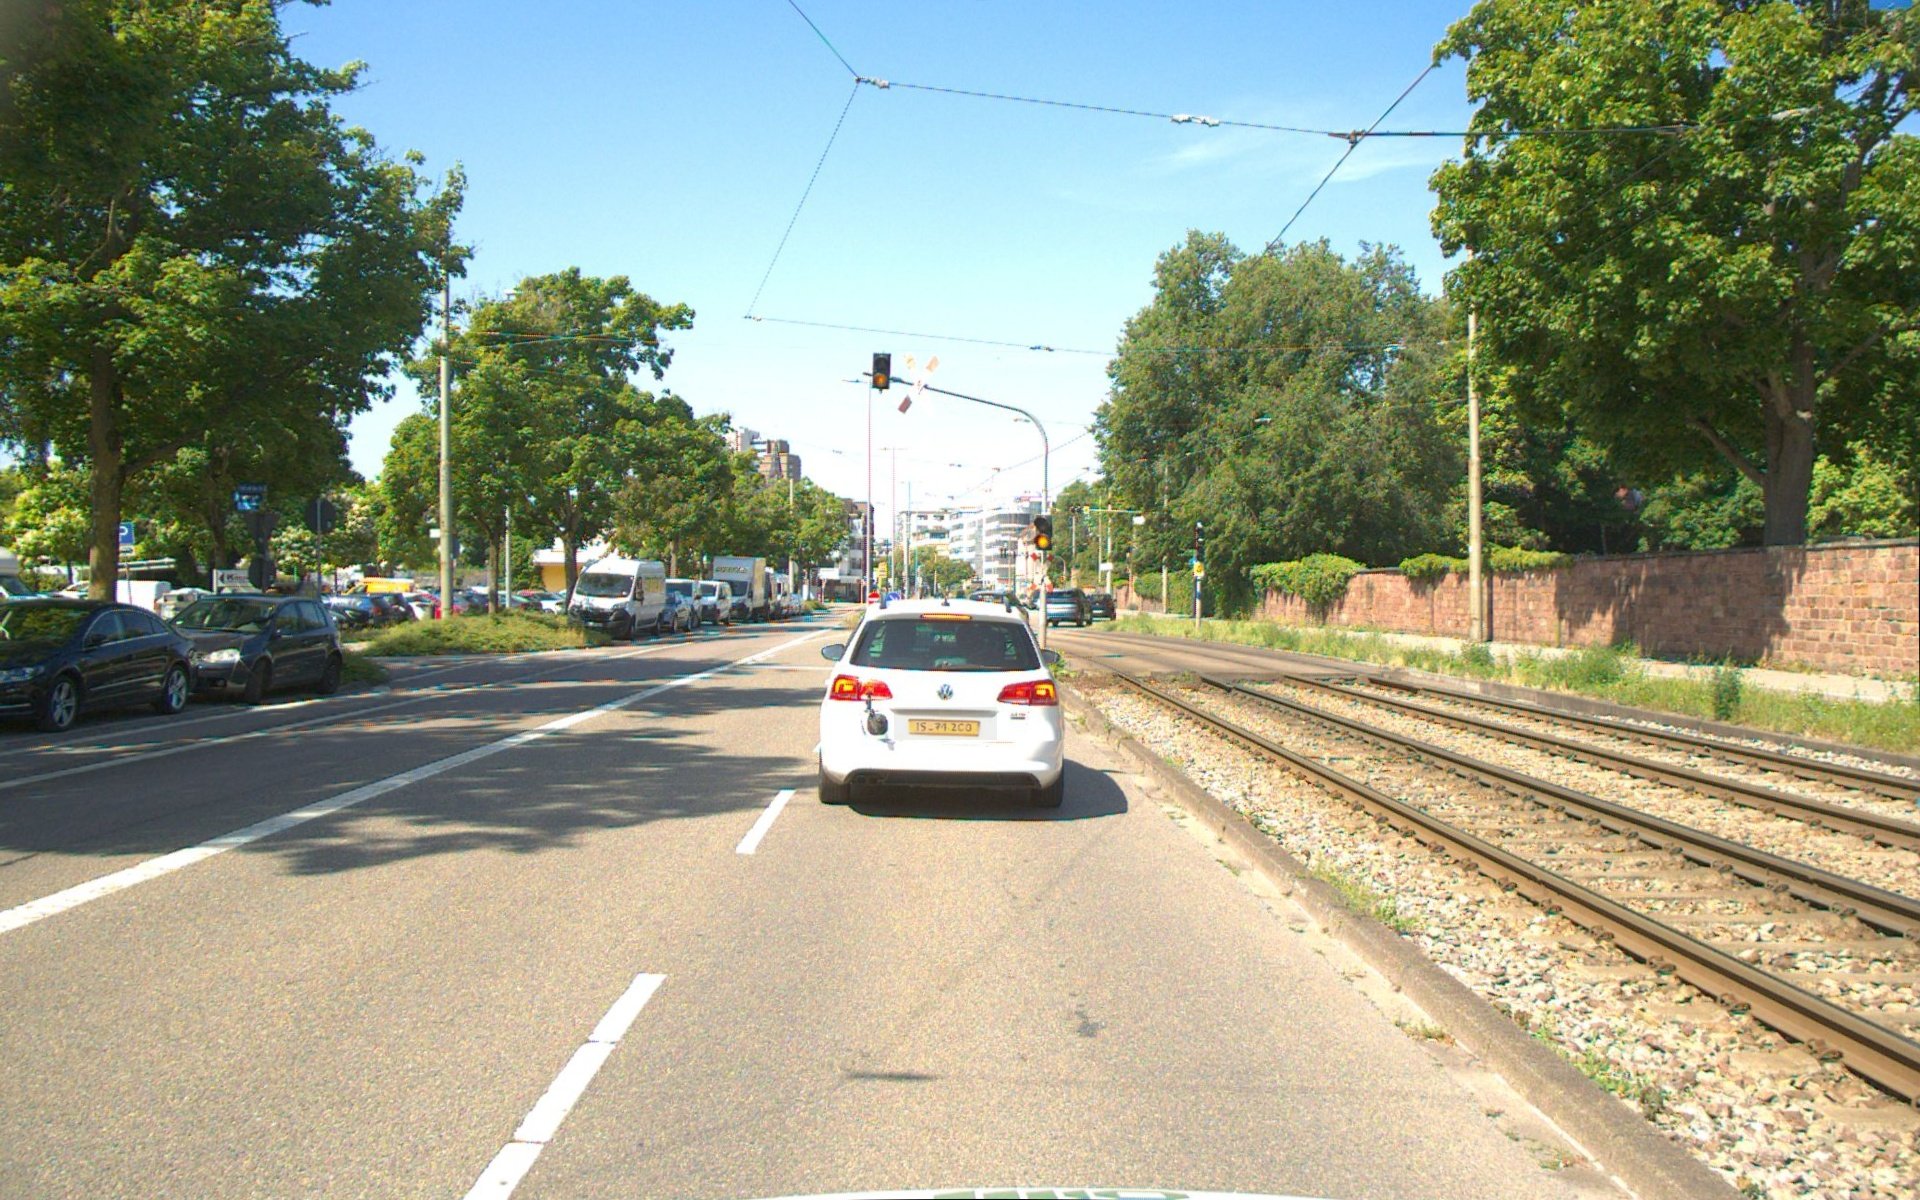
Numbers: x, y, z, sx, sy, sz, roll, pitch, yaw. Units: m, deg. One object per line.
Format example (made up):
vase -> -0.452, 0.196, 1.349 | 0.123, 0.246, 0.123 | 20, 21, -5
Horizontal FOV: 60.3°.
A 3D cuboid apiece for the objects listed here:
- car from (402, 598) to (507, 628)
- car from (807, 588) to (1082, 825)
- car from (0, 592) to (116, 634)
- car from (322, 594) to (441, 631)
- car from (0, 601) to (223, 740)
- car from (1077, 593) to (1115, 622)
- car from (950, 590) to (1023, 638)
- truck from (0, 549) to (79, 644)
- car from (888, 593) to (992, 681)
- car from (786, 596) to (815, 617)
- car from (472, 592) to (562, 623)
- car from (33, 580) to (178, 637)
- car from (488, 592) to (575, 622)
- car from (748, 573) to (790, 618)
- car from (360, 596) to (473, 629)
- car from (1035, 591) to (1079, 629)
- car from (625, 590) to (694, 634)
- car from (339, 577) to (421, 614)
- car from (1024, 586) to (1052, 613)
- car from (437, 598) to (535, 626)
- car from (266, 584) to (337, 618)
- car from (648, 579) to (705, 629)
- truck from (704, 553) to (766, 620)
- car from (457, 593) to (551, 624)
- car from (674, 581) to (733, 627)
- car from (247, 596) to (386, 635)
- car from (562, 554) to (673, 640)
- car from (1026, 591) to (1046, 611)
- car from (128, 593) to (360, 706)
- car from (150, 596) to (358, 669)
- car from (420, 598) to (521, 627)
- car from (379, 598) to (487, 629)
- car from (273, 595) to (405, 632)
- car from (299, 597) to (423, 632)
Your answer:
car -> -21.692, 0.559, 71.049 | 3.904, 1.246, 1.772 | 0, 0, 2
car -> -0.146, 0.678, 12.691 | 1.732, 1.471, 3.912 | 2, 0, -2
car -> -34.554, 0.479, 63.297 | 3.694, 1.380, 1.558 | 3, 1, 3
car -> -22.138, 0.482, 63.361 | 3.904, 1.373, 1.772 | 0, 0, 2
car -> -10.586, 0.732, 19.579 | 1.656, 1.403, 4.781 | 0, 0, -1
car -> 7.126, 0.368, 86.288 | 1.709, 1.432, 3.916 | 2, 0, 8
car -> 0.928, 0.441, 54.519 | 1.821, 1.441, 4.328 | 2, 0, 8
truck -> -33.727, -0.250, 55.435 | 6.999, 3.071, 2.230 | 3, 0, -3
car -> -0.361, 0.615, 29.837 | 1.710, 1.412, 3.912 | 2, 0, -1
car -> -11.402, 0.434, 118.288 | 1.744, 1.458, 4.037 | 0, 0, -1
car -> -21.586, 0.375, 80.641 | 3.904, 1.469, 1.772 | 0, 0, 2
car -> -33.819, 0.349, 65.548 | 4.602, 2.049, 1.998 | 2, -1, -6
car -> -21.535, 0.354, 83.187 | 3.904, 1.469, 1.772 | 0, 0, 2
car -> -11.247, -0.279, 97.790 | 1.806, 2.538, 5.856 | 0, 0, 0
car -> -21.678, 0.505, 66.015 | 3.904, 1.286, 1.772 | 0, 0, 2
car -> 4.220, 0.418, 72.254 | 1.822, 1.539, 3.915 | 2, 0, 3
car -> -10.970, 0.397, 60.613 | 1.806, 1.543, 4.196 | 0, 0, -1
car -> -34.492, -0.250, 98.500 | 4.175, 2.049, 1.997 | 2, -1, -7
car -> 7.761, -0.038, 165.481 | 2.413, 2.542, 5.909 | 2, 0, -1
car -> -21.609, 0.523, 75.501 | 3.904, 1.246, 1.772 | 0, 0, 2
car -> -37.135, 0.055, 93.335 | 3.354, 1.909, 1.552 | 0, 0, -3
car -> -11.523, 0.139, 67.458 | 1.807, 1.971, 5.189 | 0, 0, -4
truck -> -11.130, -0.679, 82.358 | 2.308, 3.177, 6.889 | 0, 0, -1
car -> -21.518, 0.408, 78.139 | 3.904, 1.426, 1.772 | 0, 0, 2
car -> -11.373, 0.157, 73.599 | 1.806, 1.995, 5.133 | 0, 0, 0
car -> -21.270, 0.497, 54.756 | 3.907, 1.246, 1.770 | 0, 0, -2
car -> -11.103, -0.126, 54.143 | 2.016, 2.544, 6.309 | 3, 0, 2
car -> 7.210, 0.090, 156.815 | 1.657, 1.844, 3.453 | 2, 0, -1
car -> -10.450, 0.674, 24.462 | 1.608, 1.476, 4.004 | 2, 0, 0
car -> -15.659, 0.698, 36.822 | 3.820, 1.432, 1.752 | -2, 1, 0
car -> -21.703, 0.562, 73.381 | 3.904, 1.246, 1.772 | 0, 0, 2
car -> -21.793, 0.532, 68.479 | 3.904, 1.246, 1.772 | 0, 0, 2
car -> -21.583, 0.460, 57.571 | 3.904, 1.246, 1.772 | 0, 0, 2
car -> -22.029, 0.535, 60.880 | 3.904, 1.246, 1.772 | 0, 0, 2
